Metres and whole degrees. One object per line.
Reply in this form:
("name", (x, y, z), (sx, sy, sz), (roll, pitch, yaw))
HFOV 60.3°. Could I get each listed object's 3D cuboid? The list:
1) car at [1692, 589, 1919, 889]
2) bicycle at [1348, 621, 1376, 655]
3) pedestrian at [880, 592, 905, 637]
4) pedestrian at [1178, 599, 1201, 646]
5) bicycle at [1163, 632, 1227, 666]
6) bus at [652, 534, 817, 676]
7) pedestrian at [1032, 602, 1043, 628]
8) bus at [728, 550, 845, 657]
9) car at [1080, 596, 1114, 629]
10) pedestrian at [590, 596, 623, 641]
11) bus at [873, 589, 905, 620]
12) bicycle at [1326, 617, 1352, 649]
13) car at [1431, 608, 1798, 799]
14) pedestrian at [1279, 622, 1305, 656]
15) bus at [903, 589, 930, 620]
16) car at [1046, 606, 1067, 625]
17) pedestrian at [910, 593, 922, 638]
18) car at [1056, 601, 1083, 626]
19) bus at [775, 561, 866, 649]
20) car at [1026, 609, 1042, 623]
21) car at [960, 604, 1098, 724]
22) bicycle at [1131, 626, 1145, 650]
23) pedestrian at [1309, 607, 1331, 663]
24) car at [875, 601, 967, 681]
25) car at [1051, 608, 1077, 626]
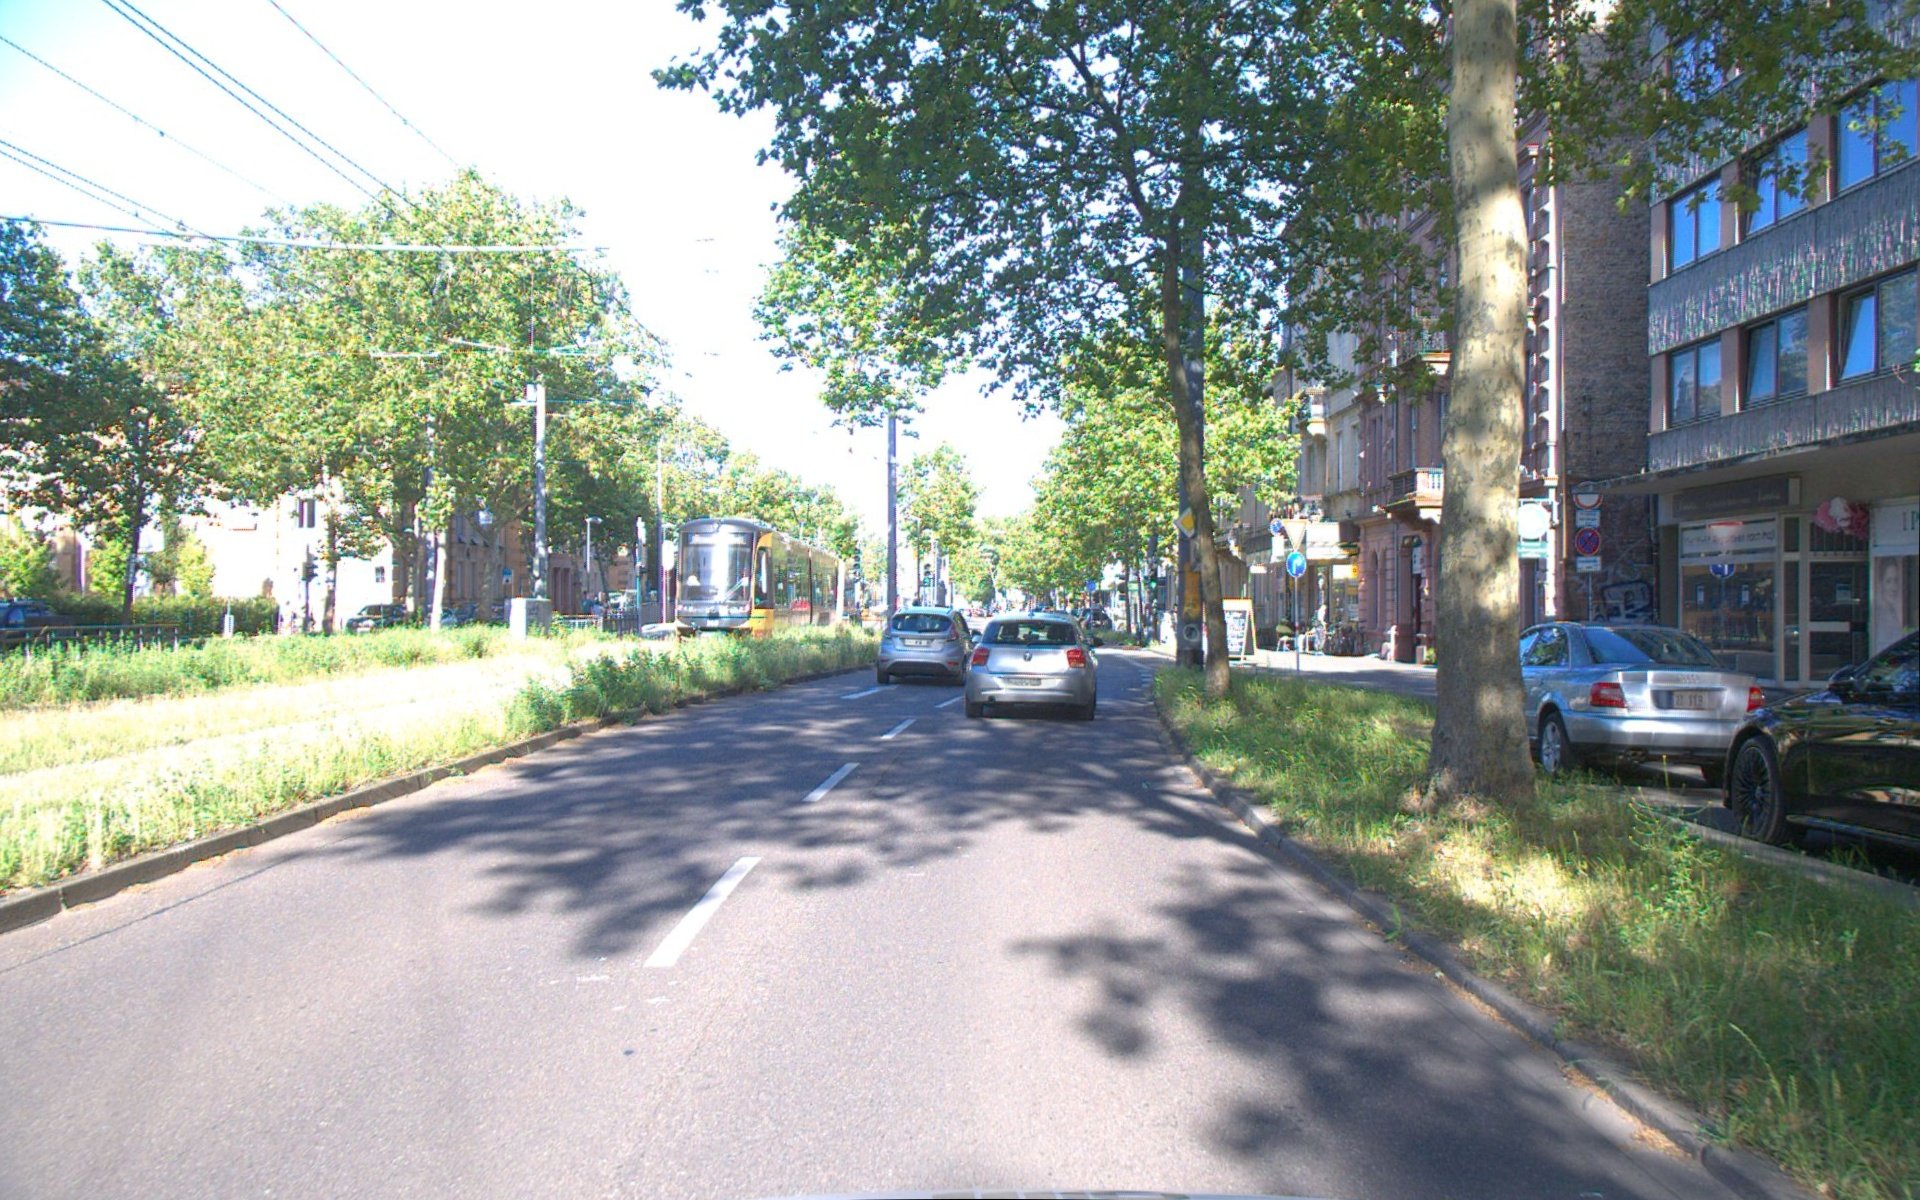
("car", (5.752, 0.735, 8.627), (1.768, 1.516, 4.920), (2, 0, 1))
("bicycle", (12.767, 1.198, 52.618), (0.434, 1.010, 1.688), (2, 0, -1))
("pedestrian", (-2.931, 0.629, 72.382), (1.050, 1.949, 1.126), (1, 0, -2))
("pedestrian", (10.157, 1.004, 73.296), (0.863, 2.049, 0.857), (2, 0, 4))
("bicycle", (7.545, 1.562, 53.145), (1.963, 1.010, 0.444), (2, 0, -2))
("bus", (-6.205, 0.137, 47.926), (2.810, 3.504, 13.217), (1, 0, 1))
("pedestrian", (6.243, 1.217, 133.310), (0.820, 2.049, 0.649), (2, 0, 7))
("bus", (-6.124, 0.125, 60.522), (2.810, 3.504, 12.215), (1, 0, 1))
("car", (8.515, 0.775, 103.327), (1.718, 1.999, 4.737), (1, 0, 0))
("pedestrian", (-13.446, 0.709, 62.932), (1.154, 1.672, 0.891), (0, -1, -7))
("bus", (-8.876, 0.443, 209.923), (2.810, 3.692, 24.604), (1, 0, 1))
("bicycle", (12.736, 1.108, 55.607), (0.434, 1.010, 1.688), (2, 0, -1))
("car", (6.036, 0.868, 15.887), (1.666, 1.449, 4.516), (2, 0, 0))
("pedestrian", (12.102, 1.424, 60.268), (0.761, 1.181, 0.466), (2, 0, -25))
("bus", (-5.394, 0.496, 206.810), (2.693, 3.689, 18.848), (1, 0, 1))
("car", (8.757, 1.414, 150.249), (1.635, 1.578, 4.000), (2, 0, 1))
("pedestrian", (-1.896, 0.652, 70.746), (0.442, 1.936, 0.584), (1, 0, -7))
("car", (7.852, 0.964, 118.673), (1.657, 1.687, 4.039), (0, 1, 0))
("bus", (-5.960, 0.192, 72.533), (2.810, 3.504, 11.611), (1, 0, 1))
("car", (8.596, 1.875, 192.429), (1.665, 1.561, 3.717), (2, 0, 0))
("car", (0.898, 0.839, 23.527), (1.726, 1.457, 4.000), (2, 0, 0))
("bicycle", (7.655, 1.620, 71.097), (0.419, 0.987, 1.750), (2, 0, 0))
("pedestrian", (12.092, 1.163, 55.534), (0.459, 1.842, 0.772), (2, 0, 31))
("car", (-0.705, 0.760, 32.352), (1.613, 1.386, 3.760), (2, 0, 1))
("car", (9.080, 1.481, 144.886), (1.953, 1.535, 4.597), (2, -1, 1))
